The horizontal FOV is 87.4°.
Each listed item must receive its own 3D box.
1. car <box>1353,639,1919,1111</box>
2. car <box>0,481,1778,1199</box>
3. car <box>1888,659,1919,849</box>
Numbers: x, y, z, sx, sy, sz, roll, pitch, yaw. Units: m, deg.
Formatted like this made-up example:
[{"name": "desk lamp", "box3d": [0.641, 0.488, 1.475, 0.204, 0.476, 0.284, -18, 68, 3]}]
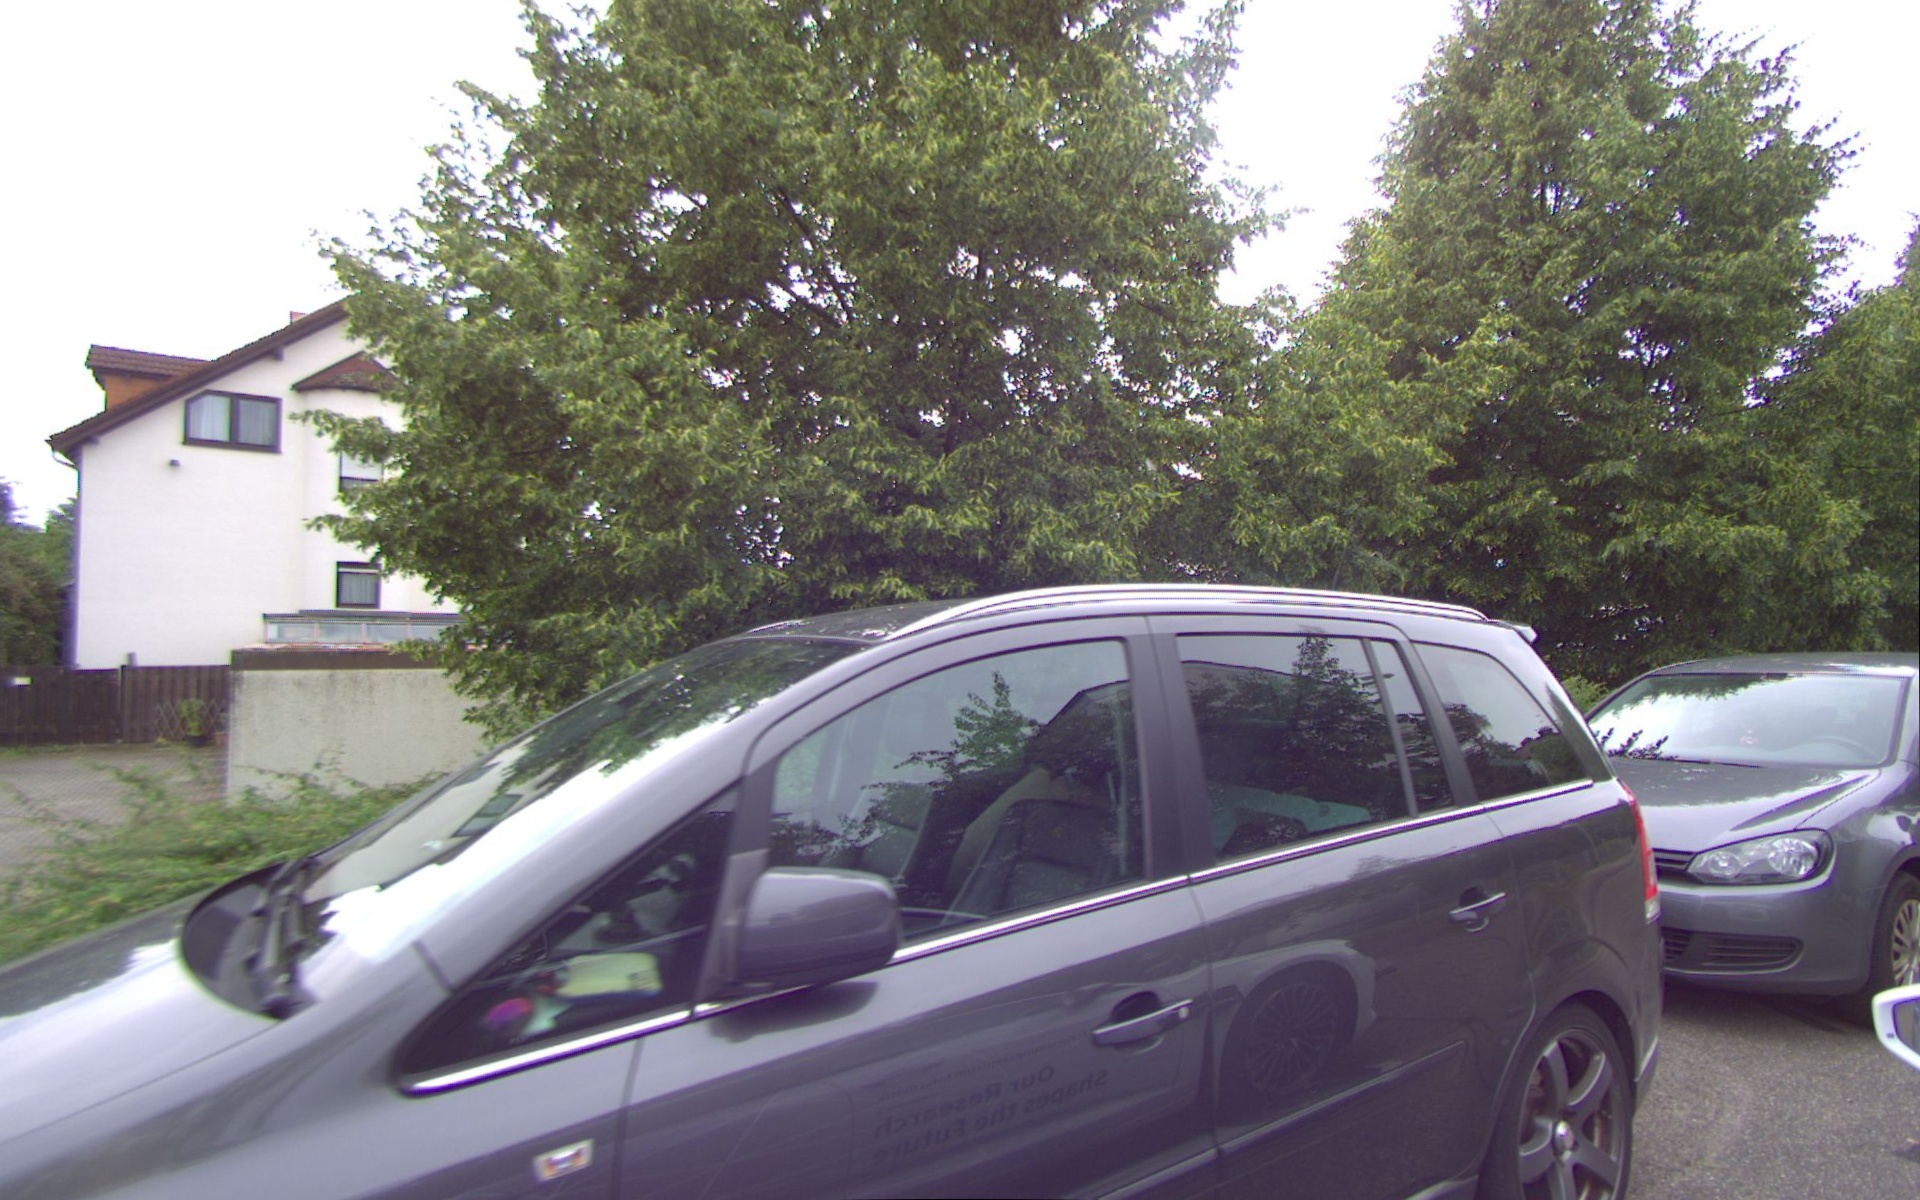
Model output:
[{"name": "car", "box3d": [4.161, 0.992, 5.045, 4.253, 1.497, 1.750, 2, -5, -29]}, {"name": "car", "box3d": [-0.064, 0.797, 2.436, 4.502, 1.614, 1.749, 2, -5, -32]}, {"name": "car", "box3d": [9.626, 1.191, 8.133, 4.424, 1.446, 1.769, 2, -4, -29]}]
